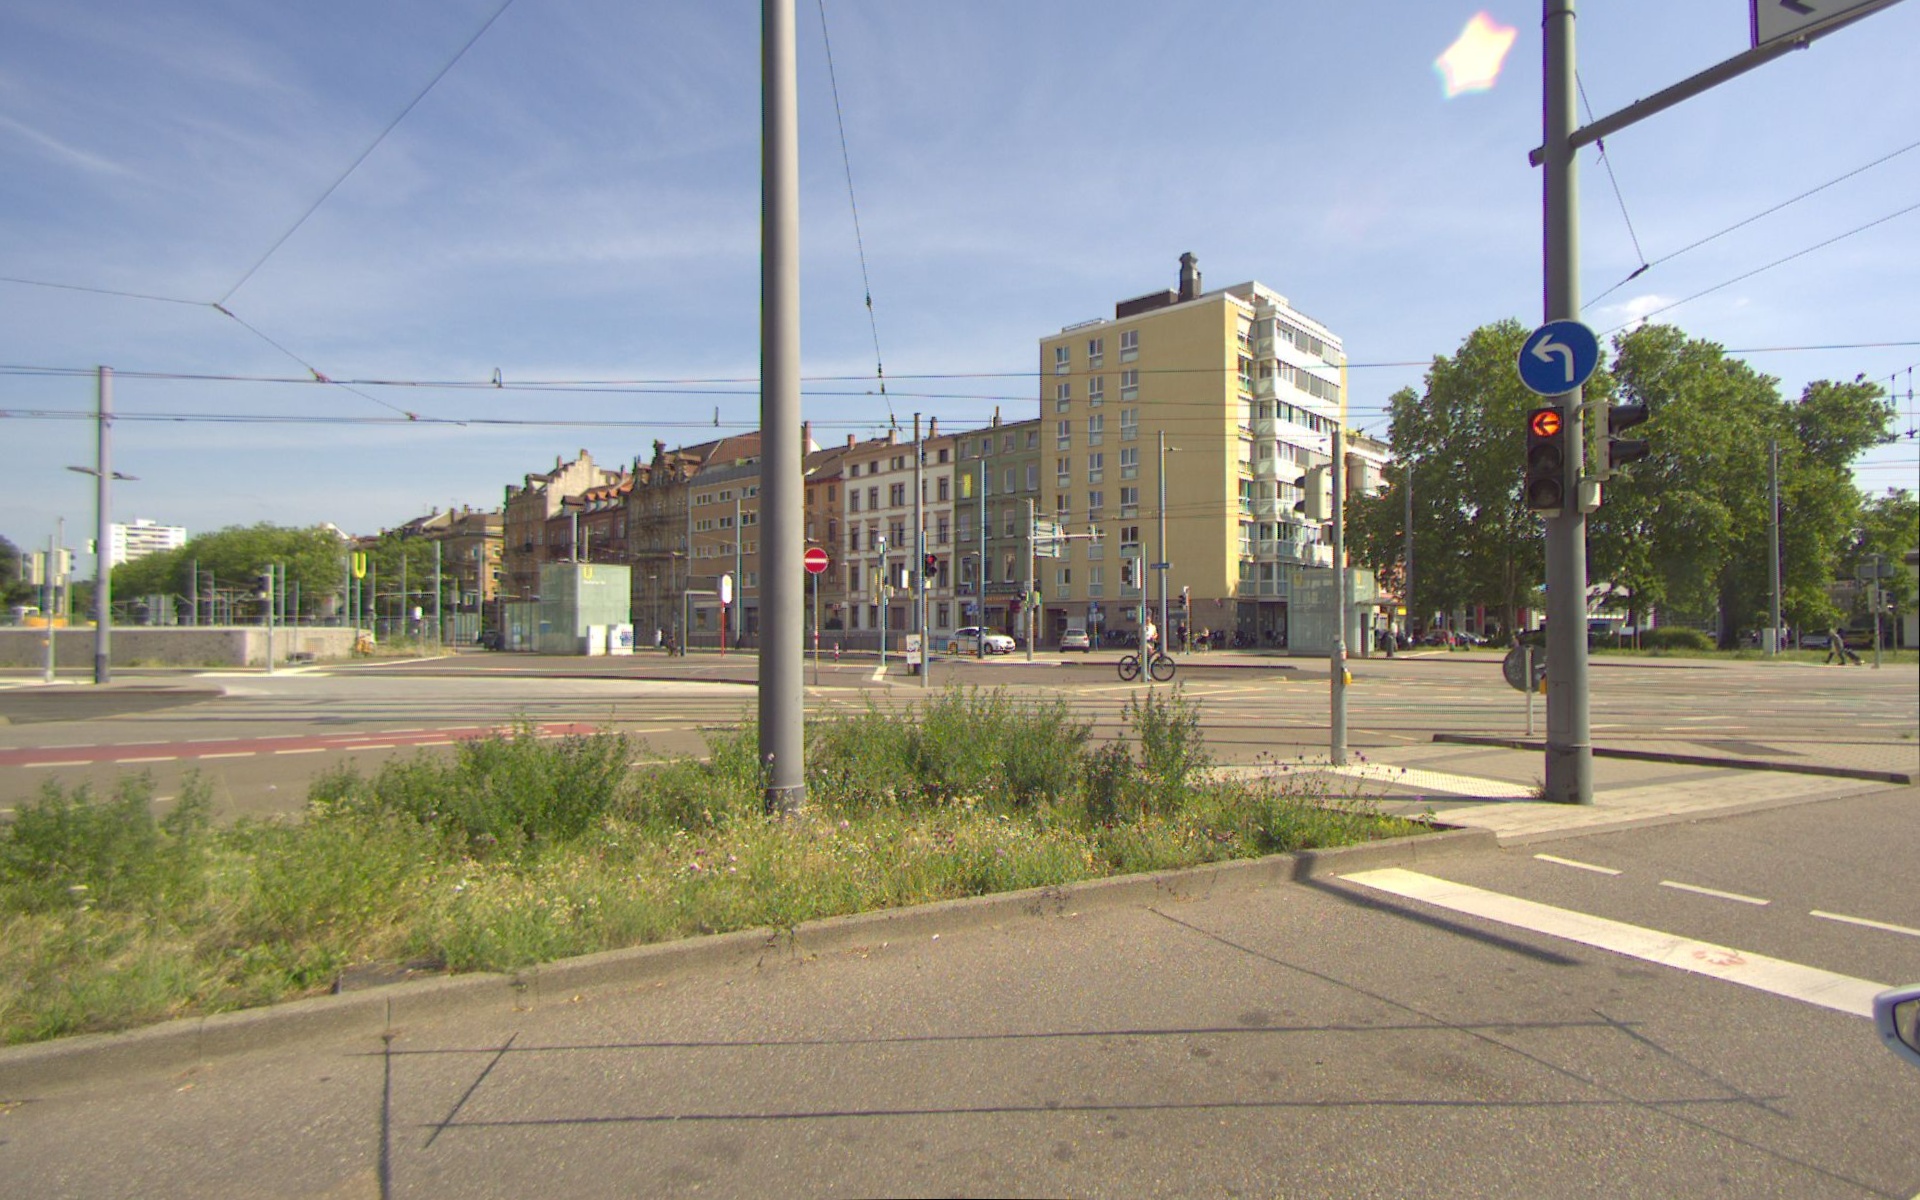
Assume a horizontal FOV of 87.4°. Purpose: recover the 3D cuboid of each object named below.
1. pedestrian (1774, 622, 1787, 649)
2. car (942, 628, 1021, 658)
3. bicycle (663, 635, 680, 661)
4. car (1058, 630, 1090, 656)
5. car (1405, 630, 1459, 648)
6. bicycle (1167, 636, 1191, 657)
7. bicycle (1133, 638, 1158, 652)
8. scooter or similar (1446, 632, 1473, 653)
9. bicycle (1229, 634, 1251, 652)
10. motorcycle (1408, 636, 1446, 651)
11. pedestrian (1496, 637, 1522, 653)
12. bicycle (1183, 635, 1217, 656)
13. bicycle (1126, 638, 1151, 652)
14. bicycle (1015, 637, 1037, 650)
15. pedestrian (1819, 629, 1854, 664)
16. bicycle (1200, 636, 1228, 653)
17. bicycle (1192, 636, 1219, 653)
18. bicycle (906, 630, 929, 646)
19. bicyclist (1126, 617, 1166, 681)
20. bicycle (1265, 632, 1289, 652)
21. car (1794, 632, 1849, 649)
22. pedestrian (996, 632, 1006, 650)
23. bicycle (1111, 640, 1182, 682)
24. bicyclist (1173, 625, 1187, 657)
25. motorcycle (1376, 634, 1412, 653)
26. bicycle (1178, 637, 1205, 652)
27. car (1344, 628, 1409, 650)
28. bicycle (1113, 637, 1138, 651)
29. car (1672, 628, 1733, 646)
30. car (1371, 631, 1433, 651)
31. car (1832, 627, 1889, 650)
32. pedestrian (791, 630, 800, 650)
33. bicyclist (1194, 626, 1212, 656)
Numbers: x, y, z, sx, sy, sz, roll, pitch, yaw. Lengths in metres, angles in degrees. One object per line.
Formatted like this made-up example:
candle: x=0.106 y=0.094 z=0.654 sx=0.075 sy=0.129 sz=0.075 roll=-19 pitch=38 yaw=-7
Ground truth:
pedestrian: x=49.247 y=2.137 z=60.279 sx=0.455 sy=1.617 sz=0.393 roll=2 pitch=0 yaw=-6
car: x=1.125 y=2.285 z=53.668 sx=4.067 sy=1.417 sz=1.749 roll=-1 pitch=1 yaw=43
bicycle: x=-13.174 y=2.188 z=45.899 sx=0.408 sy=1.085 sz=1.651 roll=0 pitch=0 yaw=-28
car: x=7.010 y=2.671 z=62.072 sx=1.777 sy=1.458 sz=4.004 roll=1 pitch=-4 yaw=4
car: x=38.901 y=3.194 z=82.878 sx=3.684 sy=1.358 sz=1.733 roll=1 pitch=0 yaw=44
bicycle: x=12.089 y=2.579 z=55.440 sx=0.575 sy=1.145 sz=1.790 roll=-2 pitch=-3 yaw=37
bicycle: x=12.740 y=3.074 z=68.939 sx=0.579 sy=0.928 sz=1.737 roll=0 pitch=-2 yaw=-39
scooter or similar: x=27.091 y=2.318 z=54.524 sx=0.509 sy=1.134 sz=1.358 roll=0 pitch=-1 yaw=-19
bicycle: x=18.356 y=2.802 z=65.762 sx=0.534 sy=1.201 sz=1.878 roll=-1 pitch=-2 yaw=45
motorcycle: x=28.322 y=2.637 z=60.951 sx=1.997 sy=0.853 sz=0.641 roll=0 pitch=-1 yaw=4
pedestrian: x=32.298 y=2.652 z=59.105 sx=1.159 sy=0.904 sz=0.818 roll=-1 pitch=-2 yaw=41
bicycle: x=12.933 y=2.442 z=54.155 sx=1.775 sy=1.145 sz=0.749 roll=1 pitch=-2 yaw=-30
bicycle: x=12.230 y=3.057 z=68.707 sx=0.579 sy=0.928 sz=1.737 roll=0 pitch=-2 yaw=-39
bicycle: x=4.993 y=3.304 z=76.303 sx=1.755 sy=0.977 sz=0.412 roll=-2 pitch=0 yaw=43
pedestrian: x=37.904 y=2.002 z=43.454 sx=1.100 sy=1.422 sz=0.654 roll=2 pitch=0 yaw=39
bicycle: x=16.498 y=2.871 z=65.203 sx=0.579 sy=1.056 sz=1.737 roll=0 pitch=-2 yaw=-40
bicycle: x=15.871 y=2.863 z=64.978 sx=0.578 sy=1.100 sz=1.740 roll=-3 pitch=0 yaw=-34
bicycle: x=-3.035 y=2.665 z=71.243 sx=0.589 sy=1.109 sz=1.738 roll=0 pitch=-2 yaw=43
bicyclist: x=5.045 y=1.334 z=27.262 sx=0.745 sy=1.706 sz=0.768 roll=2 pitch=-4 yaw=-40
bicycle: x=20.461 y=2.727 z=64.854 sx=1.740 sy=1.235 sz=0.578 roll=0 pitch=-1 yaw=-37
car: x=70.175 y=3.275 z=81.816 sx=3.946 sy=1.261 sz=1.988 roll=2 pitch=0 yaw=-25
pedestrian: x=3.201 y=3.188 z=78.289 sx=0.637 sy=1.392 sz=0.524 roll=-1 pitch=-2 yaw=43
bicycle: x=5.044 y=1.649 z=27.269 sx=0.745 sy=1.098 sz=1.828 roll=2 pitch=-4 yaw=-40
bicyclist: x=12.110 y=2.266 z=55.273 sx=0.575 sy=1.757 sz=0.615 roll=-2 pitch=-3 yaw=37
motorcycle: x=24.787 y=2.459 z=57.378 sx=0.631 sy=1.076 sz=2.028 roll=0 pitch=-2 yaw=-22
bicycle: x=15.307 y=2.949 z=66.345 sx=0.579 sy=0.978 sz=1.736 roll=0 pitch=-2 yaw=-41
car: x=30.515 y=2.837 z=73.669 sx=3.945 sy=1.459 sz=1.879 roll=1 pitch=0 yaw=44
bicycle: x=11.538 y=3.043 z=70.037 sx=1.733 sy=0.928 sz=0.580 roll=-2 pitch=-2 yaw=44
car: x=66.630 y=3.304 z=90.186 sx=1.976 sy=1.390 sz=3.968 roll=2 pitch=0 yaw=-30
car: x=33.765 y=3.124 z=76.774 sx=3.945 sy=1.287 sz=1.733 roll=1 pitch=0 yaw=44
car: x=71.649 y=3.088 z=79.957 sx=3.946 sy=1.706 sz=1.988 roll=2 pitch=0 yaw=-25
pedestrian: x=-13.685 y=3.327 z=83.699 sx=0.518 sy=1.687 sz=0.551 roll=-2 pitch=-2 yaw=43
bicyclist: x=13.104 y=2.228 z=54.232 sx=0.605 sy=1.593 sz=0.728 roll=1 pitch=-3 yaw=-29
